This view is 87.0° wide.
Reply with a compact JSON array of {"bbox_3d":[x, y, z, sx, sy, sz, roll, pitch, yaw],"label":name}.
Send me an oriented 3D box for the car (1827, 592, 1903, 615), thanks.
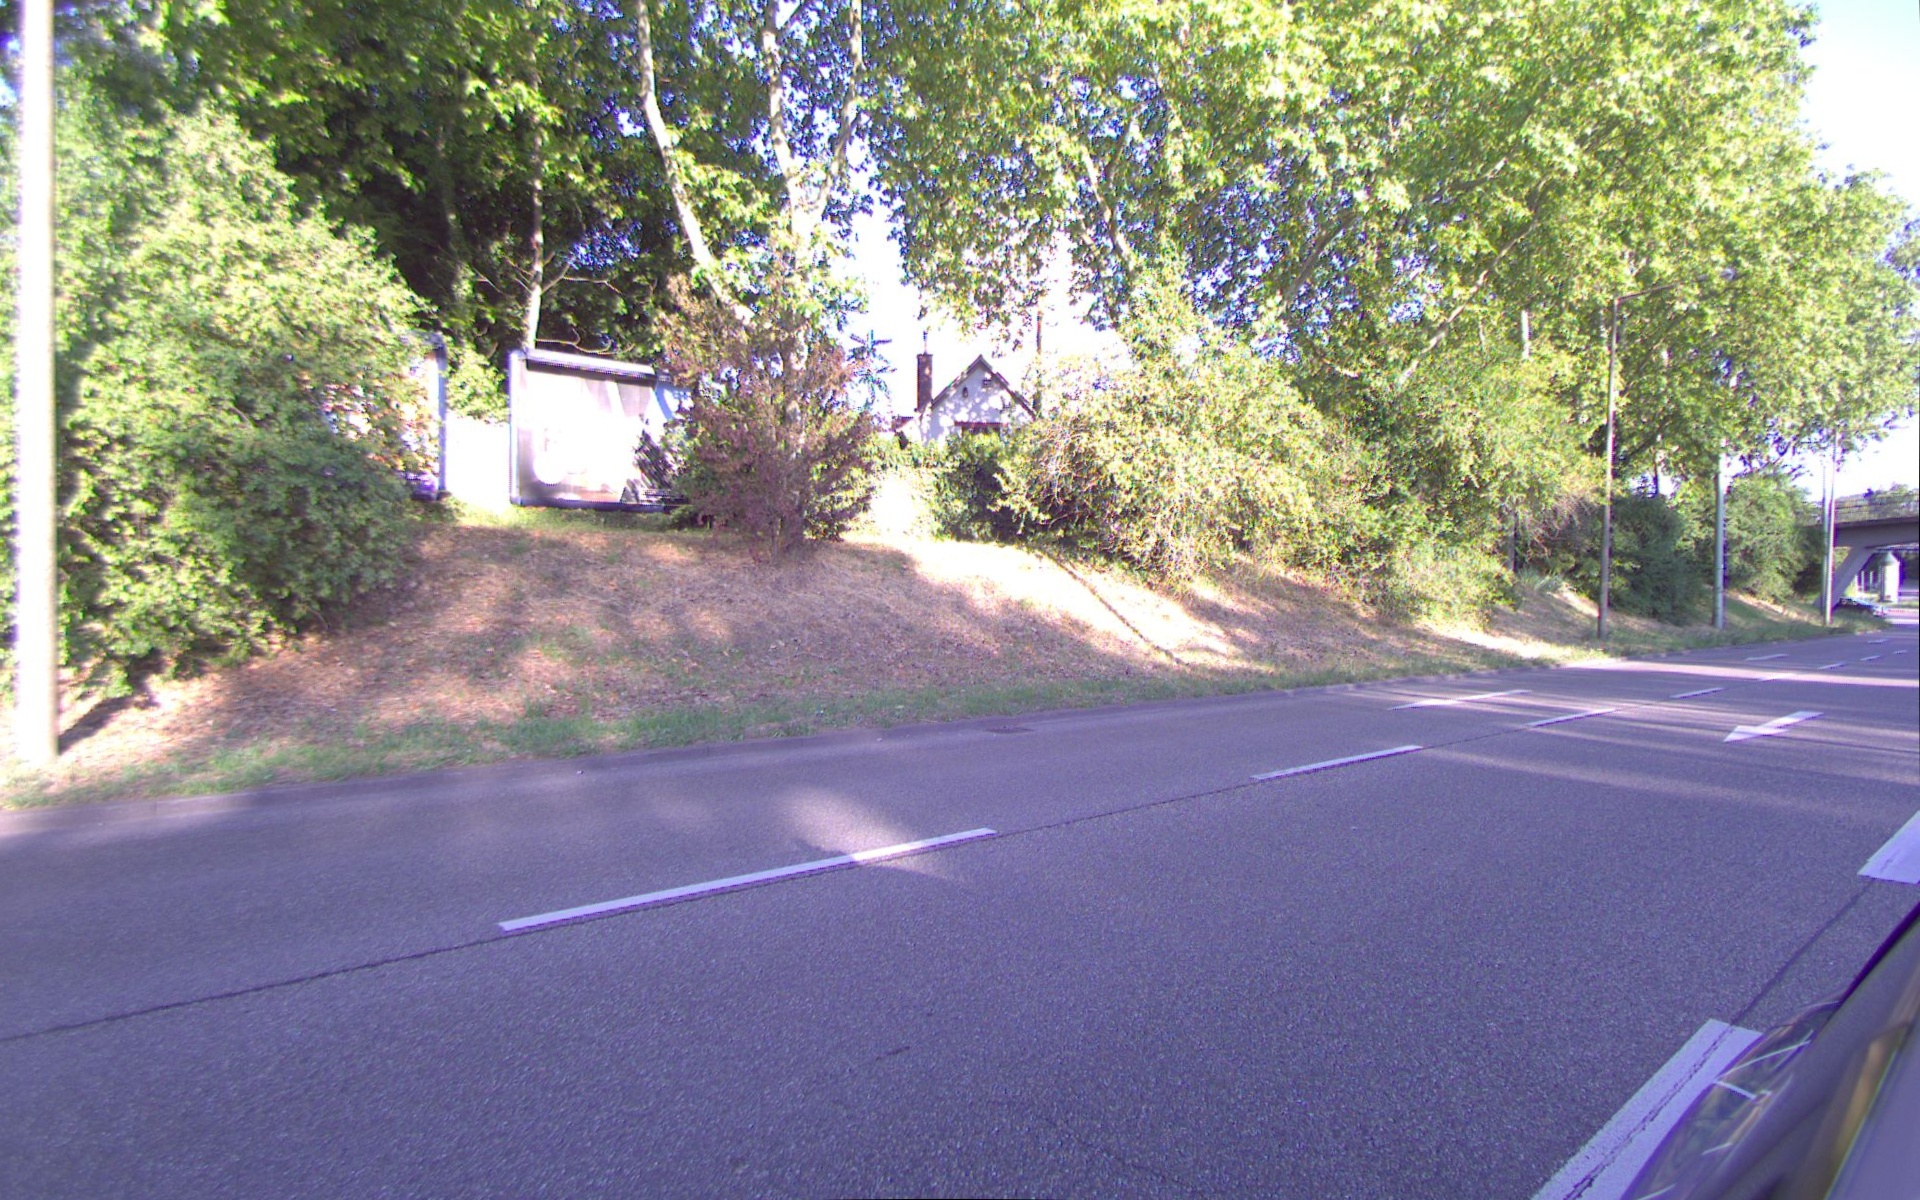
[{"bbox_3d":[69.090,0.220,77.322,1.748,1.676,4.006,-1,1,-27],"label":"car"}]
